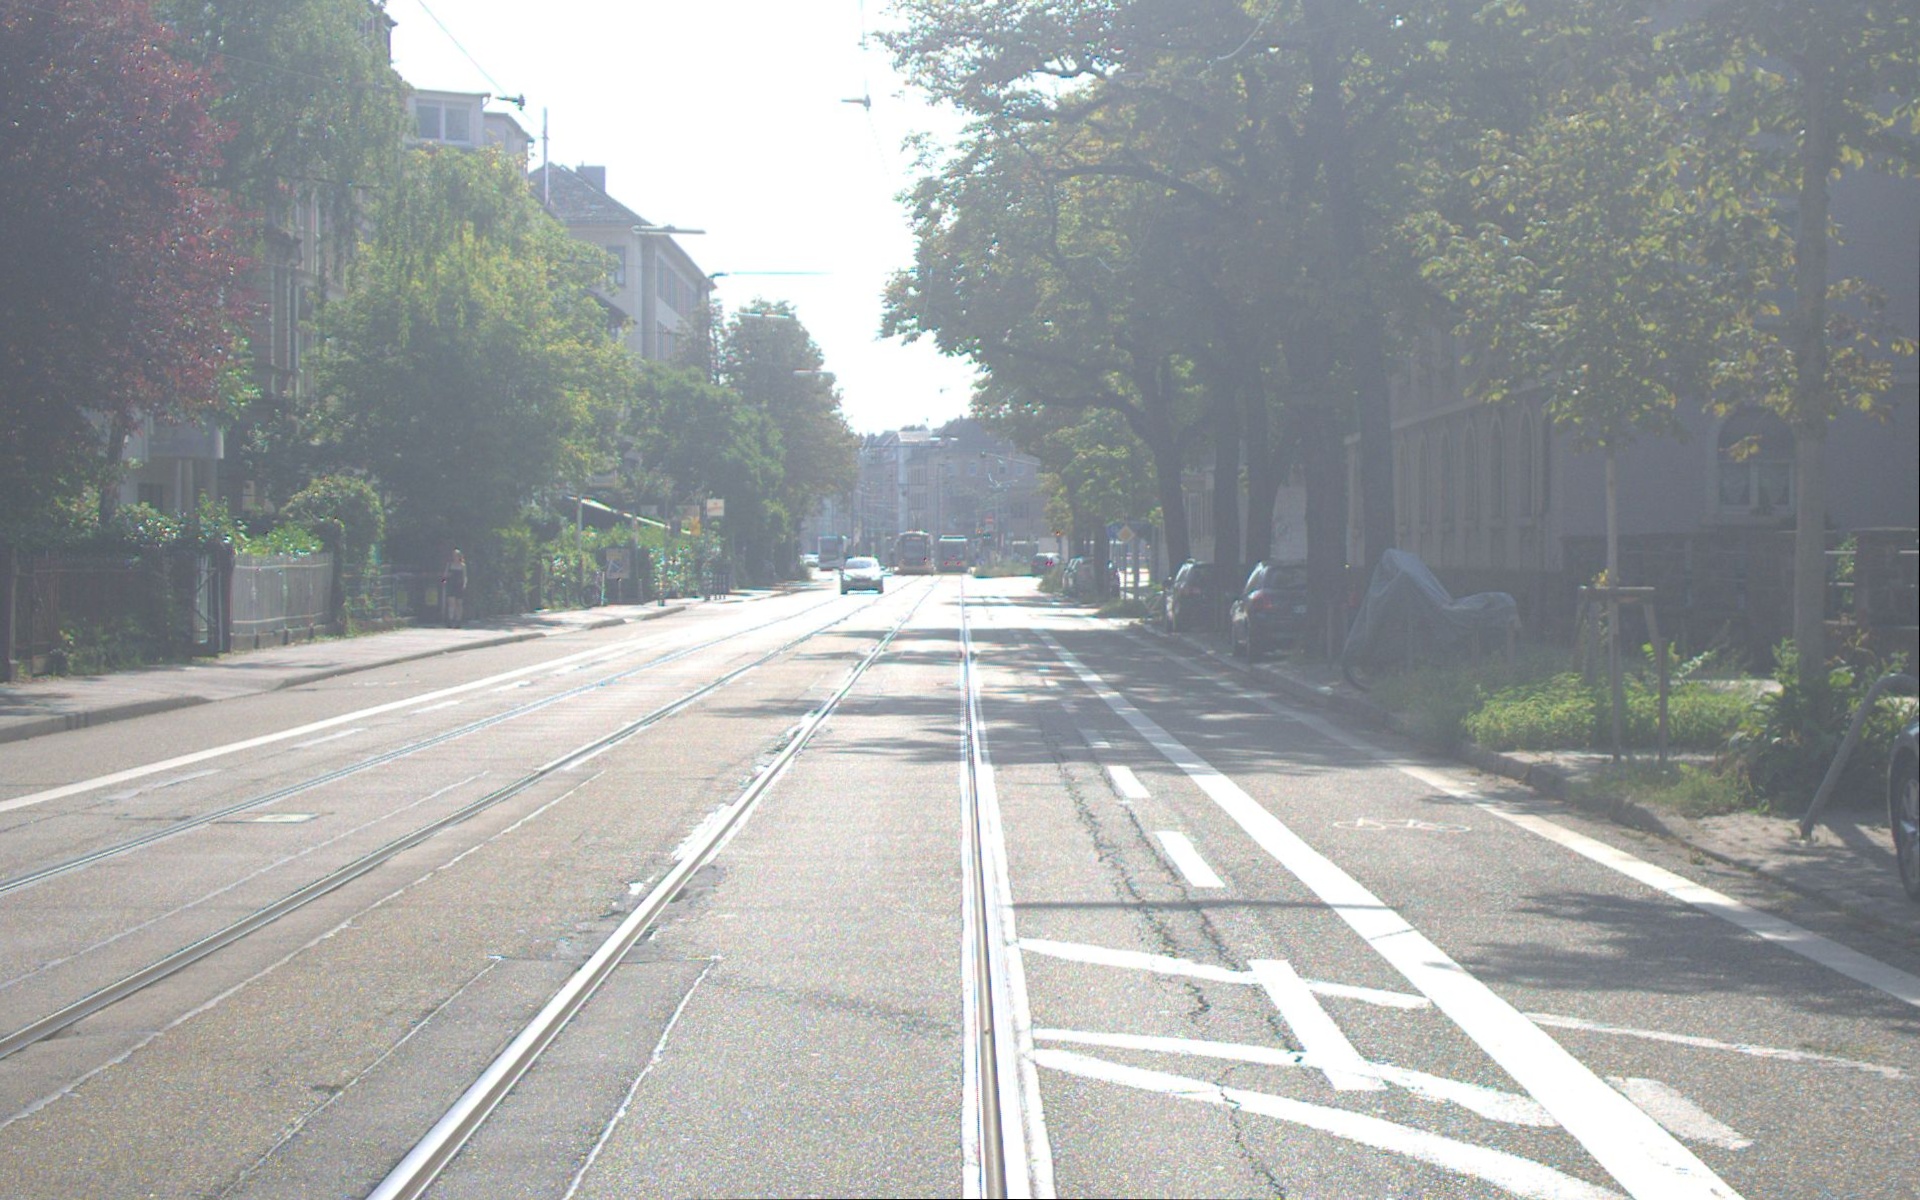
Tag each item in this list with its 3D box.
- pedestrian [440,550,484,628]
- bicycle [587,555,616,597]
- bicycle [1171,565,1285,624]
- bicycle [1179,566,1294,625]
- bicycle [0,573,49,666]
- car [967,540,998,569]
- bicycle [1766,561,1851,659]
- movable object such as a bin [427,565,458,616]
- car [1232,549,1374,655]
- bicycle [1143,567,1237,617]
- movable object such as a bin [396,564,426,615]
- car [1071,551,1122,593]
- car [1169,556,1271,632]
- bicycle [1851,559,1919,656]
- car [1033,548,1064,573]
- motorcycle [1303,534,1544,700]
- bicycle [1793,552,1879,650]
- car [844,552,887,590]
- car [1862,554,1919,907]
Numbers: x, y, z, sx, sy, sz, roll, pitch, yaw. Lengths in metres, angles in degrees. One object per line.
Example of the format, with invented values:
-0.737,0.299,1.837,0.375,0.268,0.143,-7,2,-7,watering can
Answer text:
-10.241,-0.235,70.691,0.752,1.586,0.878,0,1,1,pedestrian
-10.453,-0.717,100.341,0.561,1.217,2.113,0,1,2,bicycle
5.098,-0.108,65.448,2.106,1.101,0.563,0,1,-7,bicycle
5.220,-0.088,64.930,2.106,1.101,0.563,0,1,-7,bicycle
-12.024,0.227,41.280,2.015,1.100,0.588,0,1,-2,bicycle
1.609,-3.257,245.500,1.994,2.007,4.000,2,1,3,car
9.973,0.100,40.449,0.423,1.100,2.000,0,1,-2,bicycle
-11.090,-0.211,73.684,0.631,1.074,0.705,0,1,-6,movable object such as a bin
5.153,0.005,52.089,1.726,1.499,3.984,-1,1,0,car
5.322,-0.186,79.594,2.106,1.101,0.616,-1,1,-1,bicycle
-11.760,-0.230,73.618,0.589,1.074,0.705,0,1,-6,movable object such as a bin
5.007,-1.021,126.465,1.772,1.468,3.974,-1,0,0,car
5.198,-0.118,69.114,1.772,1.468,3.974,-1,0,0,car
11.003,0.072,40.454,0.424,1.100,2.000,0,1,-2,bicycle
6.485,-2.917,252.615,1.994,1.777,3.999,2,1,5,car
4.869,0.175,36.261,2.418,1.668,0.911,-1,2,45,motorcycle
10.288,-0.002,40.420,0.424,1.100,2.000,0,1,-2,bicycle
-4.005,-1.249,146.649,1.726,1.632,3.985,0,1,0,car
5.083,0.587,13.756,1.743,1.555,4.719,-1,1,1,car
